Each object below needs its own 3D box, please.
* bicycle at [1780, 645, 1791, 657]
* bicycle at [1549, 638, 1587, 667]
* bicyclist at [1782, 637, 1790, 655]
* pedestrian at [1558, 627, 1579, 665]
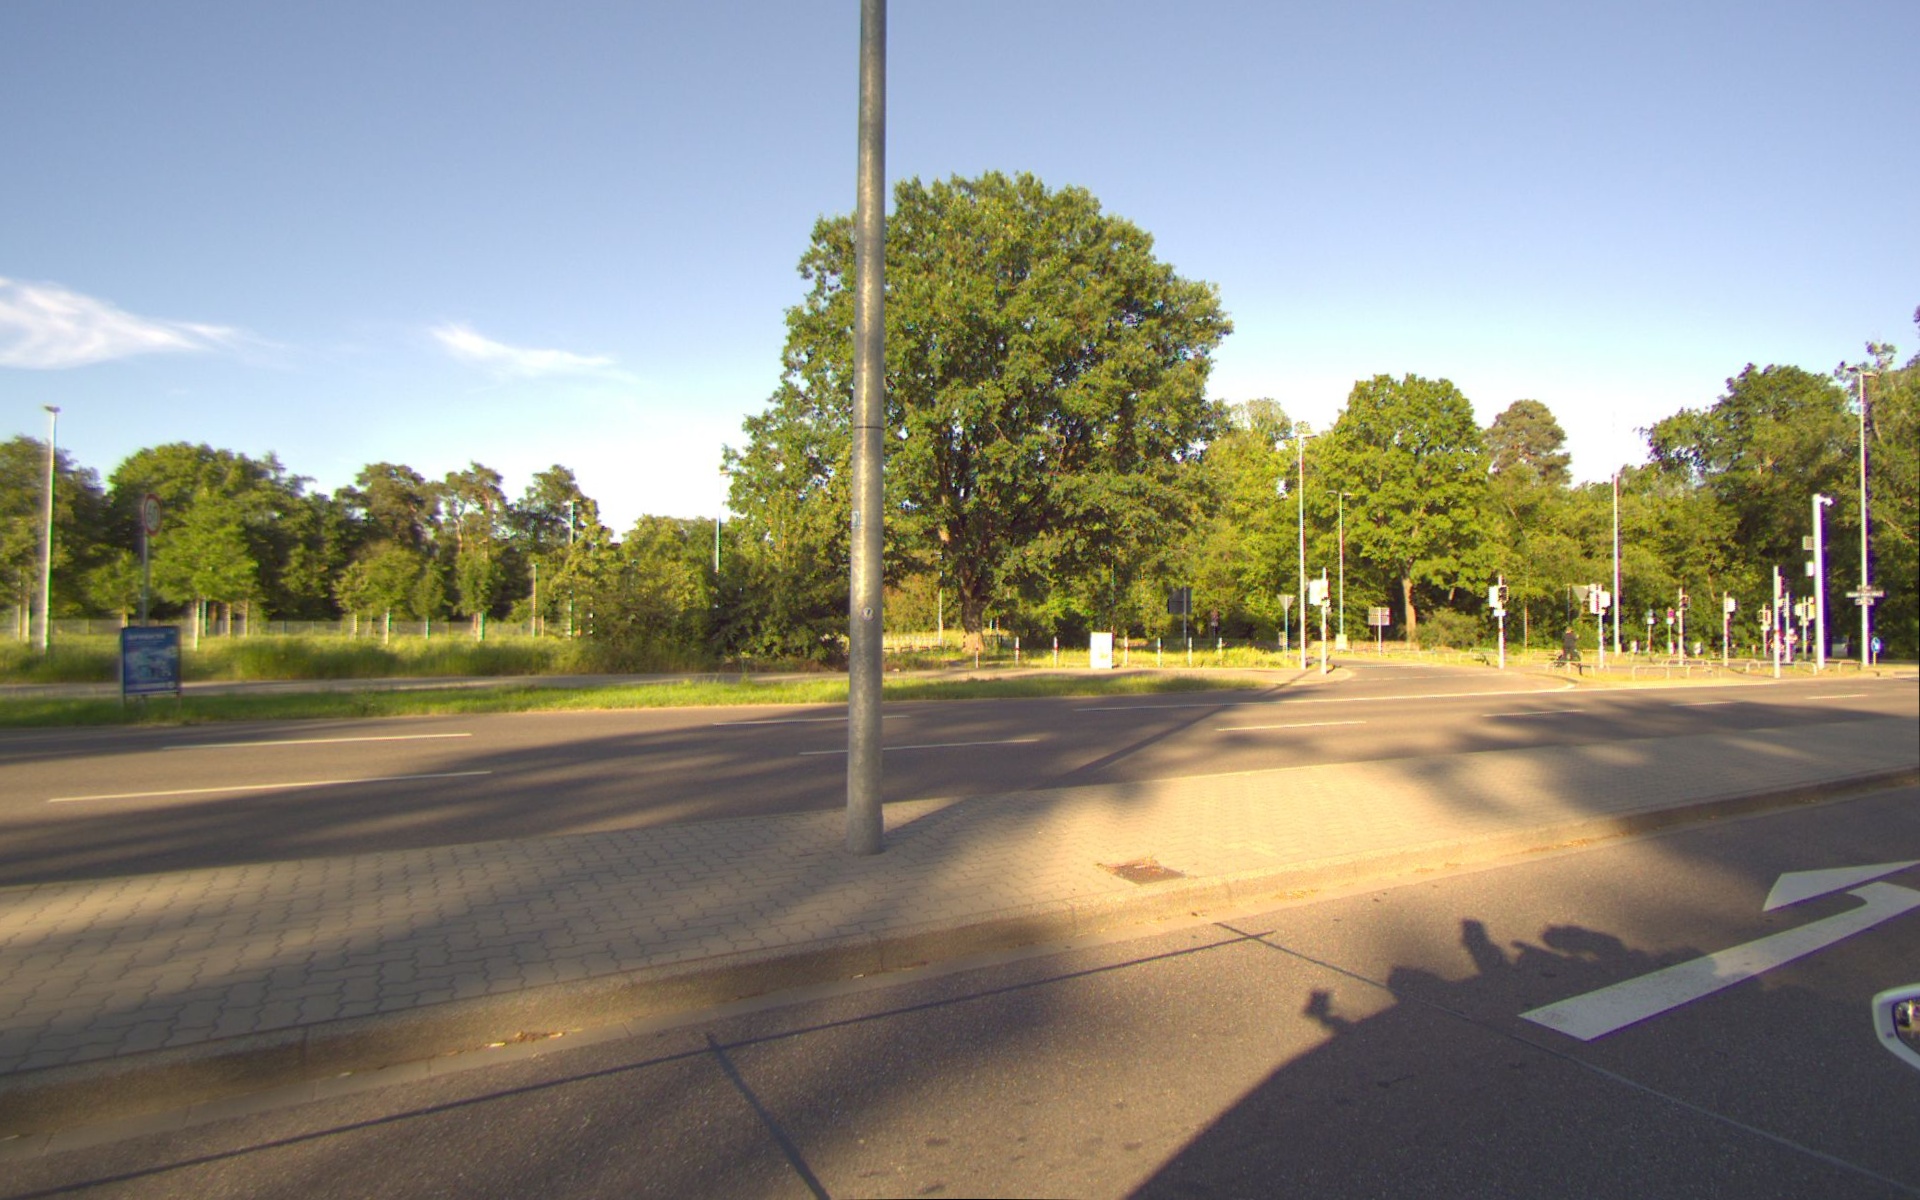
[{"bbox_3d":[44.223,2.728,53.796,0.831,0.589,0.264,2,0,-36],"label":"bicycle"},{"bbox_3d":[25.819,2.233,42.617,1.980,1.193,0.466,2,0,-31],"label":"bicycle"},{"bbox_3d":[44.249,2.470,53.813,0.238,0.975,0.271,2,0,-34],"label":"bicyclist"},{"bbox_3d":[25.821,1.965,42.638,0.641,1.583,0.479,2,0,-30],"label":"pedestrian"}]
